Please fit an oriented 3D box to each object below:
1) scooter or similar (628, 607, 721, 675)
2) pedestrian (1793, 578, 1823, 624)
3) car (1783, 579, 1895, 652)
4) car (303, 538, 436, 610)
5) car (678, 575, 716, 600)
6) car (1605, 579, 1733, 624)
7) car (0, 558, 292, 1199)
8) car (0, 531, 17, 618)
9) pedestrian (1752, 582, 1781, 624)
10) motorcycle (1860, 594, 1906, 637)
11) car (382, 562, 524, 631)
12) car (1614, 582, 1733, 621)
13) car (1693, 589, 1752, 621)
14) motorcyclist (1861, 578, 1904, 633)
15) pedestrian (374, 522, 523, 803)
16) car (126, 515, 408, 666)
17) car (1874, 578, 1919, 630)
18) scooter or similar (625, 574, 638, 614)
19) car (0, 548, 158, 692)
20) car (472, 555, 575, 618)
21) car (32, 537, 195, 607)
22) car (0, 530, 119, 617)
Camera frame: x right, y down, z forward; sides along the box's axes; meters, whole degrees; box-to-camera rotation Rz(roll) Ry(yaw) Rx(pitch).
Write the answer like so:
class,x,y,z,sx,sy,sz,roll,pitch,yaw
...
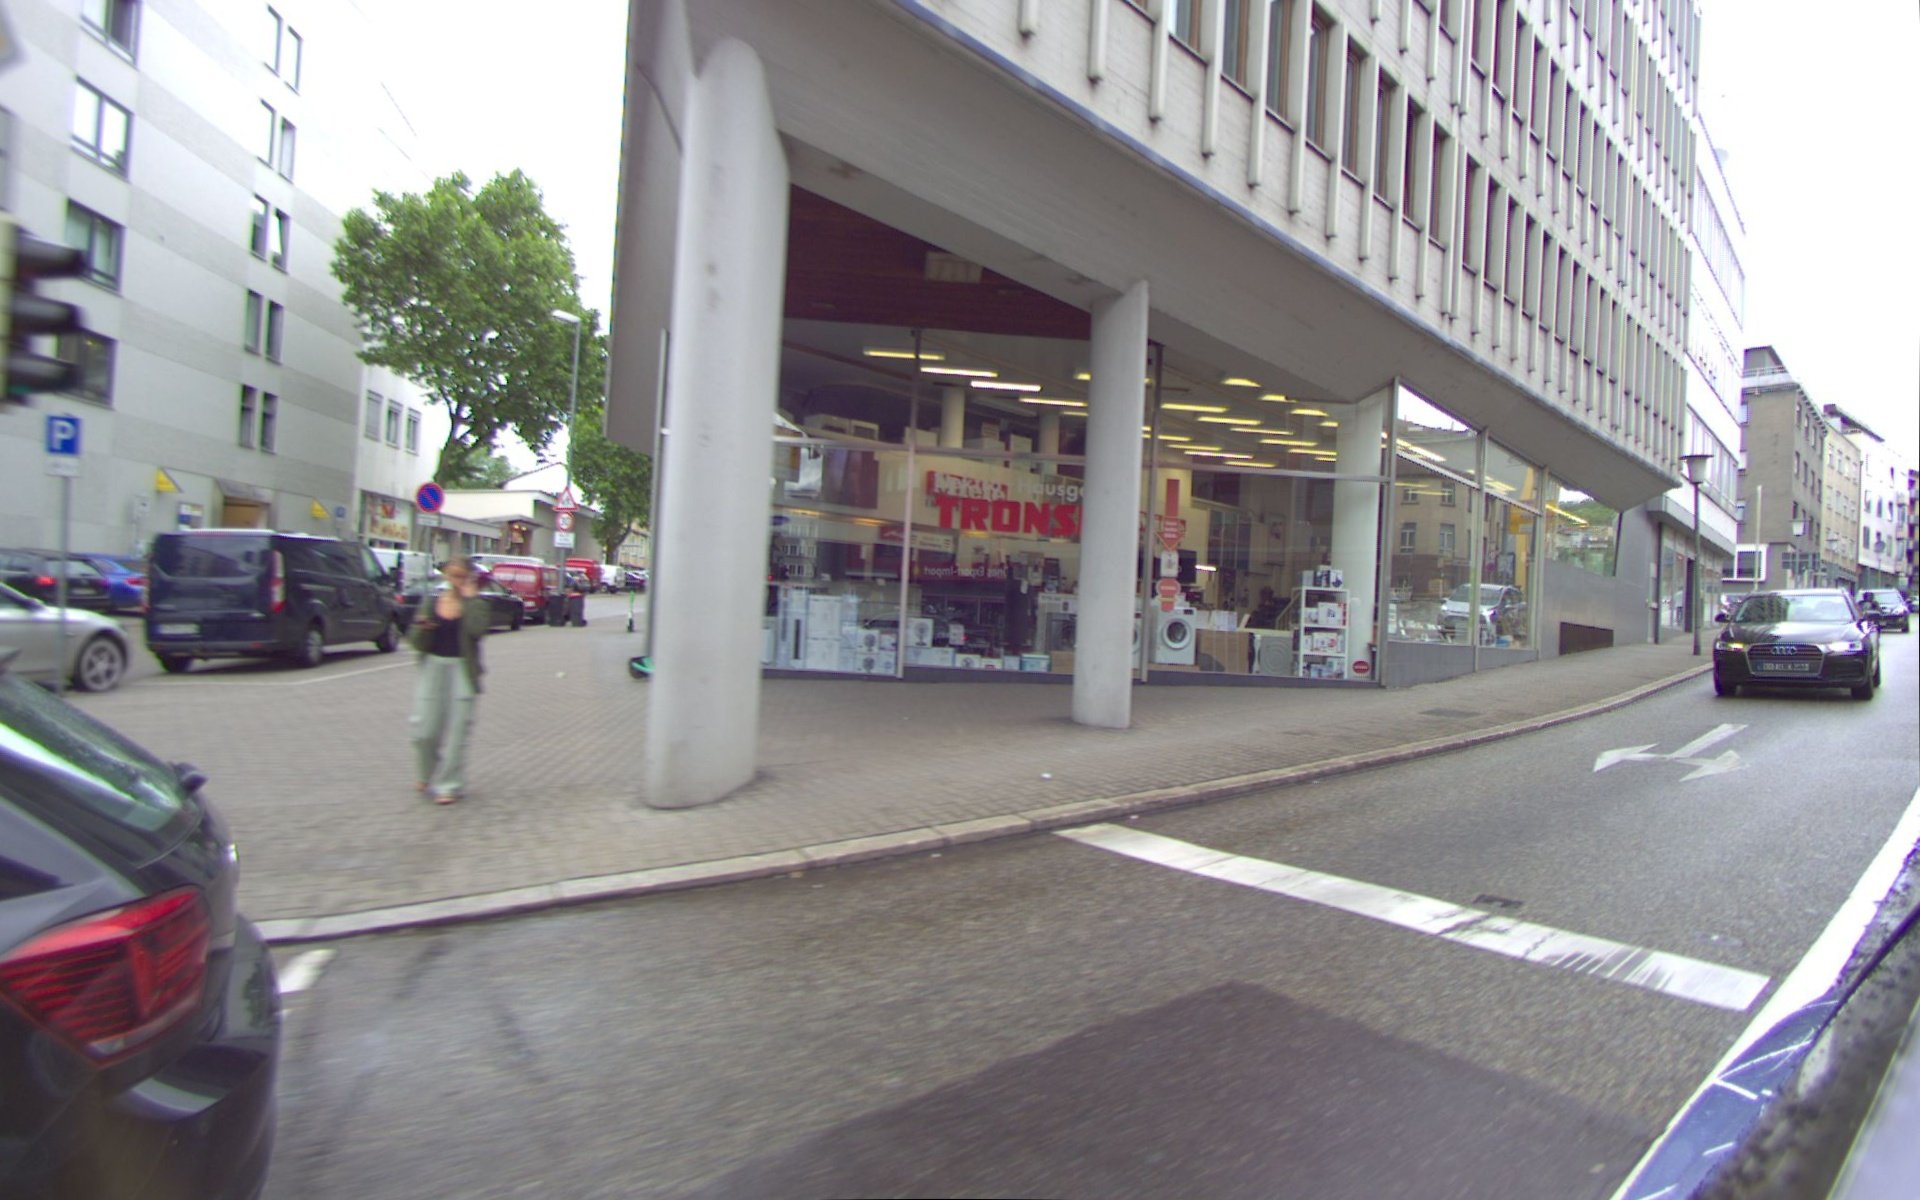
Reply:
class,x,y,z,sx,sy,sz,roll,pitch,yaw
scooter or similar,-3.686,0.528,13.086,1.104,0.834,0.308,2,1,-3
pedestrian,33.337,0.033,39.783,0.783,1.726,1.104,5,4,41
car,20.846,0.358,24.066,1.824,1.561,4.189,-3,-2,41
car,-21.076,-0.954,36.156,3.786,2.429,1.898,1,1,10
car,-17.662,-0.868,68.169,1.959,1.513,4.006,1,2,-7
car,28.862,0.027,41.352,3.966,1.468,1.781,6,3,28
car,-3.129,0.635,1.023,3.928,1.495,1.692,1,0,-39
car,-20.252,-0.659,18.828,3.864,1.655,1.627,5,0,1
pedestrian,31.450,0.087,39.467,0.765,1.569,0.877,5,4,41
motorcycle,27.558,0.457,30.233,0.843,1.241,2.339,-2,-1,39
car,-12.230,-0.150,24.723,1.805,1.513,4.142,1,2,-7
car,30.450,0.034,43.346,3.965,1.549,1.745,2,1,29
car,38.992,0.249,51.716,4.365,1.530,1.789,0,1,-45
motorcyclist,27.512,0.165,30.197,0.843,1.610,0.949,-2,-1,40
pedestrian,-3.318,0.365,6.627,0.813,1.710,0.725,1,3,-24
car,-10.659,-0.198,16.077,1.920,2.022,4.816,1,2,-11
car,37.085,0.130,39.551,1.842,1.927,3.710,2,1,40
scooter or similar,-8.641,-0.168,26.616,0.215,1.012,0.816,1,1,-12
car,-11.015,0.200,10.480,1.820,1.513,4.857,1,1,-4
car,-13.436,-0.454,31.412,1.849,1.786,4.006,1,2,-7
car,-20.713,-0.709,24.752,3.648,1.572,1.615,2,2,23
car,-20.311,-0.632,21.509,3.781,1.572,1.624,5,2,9
